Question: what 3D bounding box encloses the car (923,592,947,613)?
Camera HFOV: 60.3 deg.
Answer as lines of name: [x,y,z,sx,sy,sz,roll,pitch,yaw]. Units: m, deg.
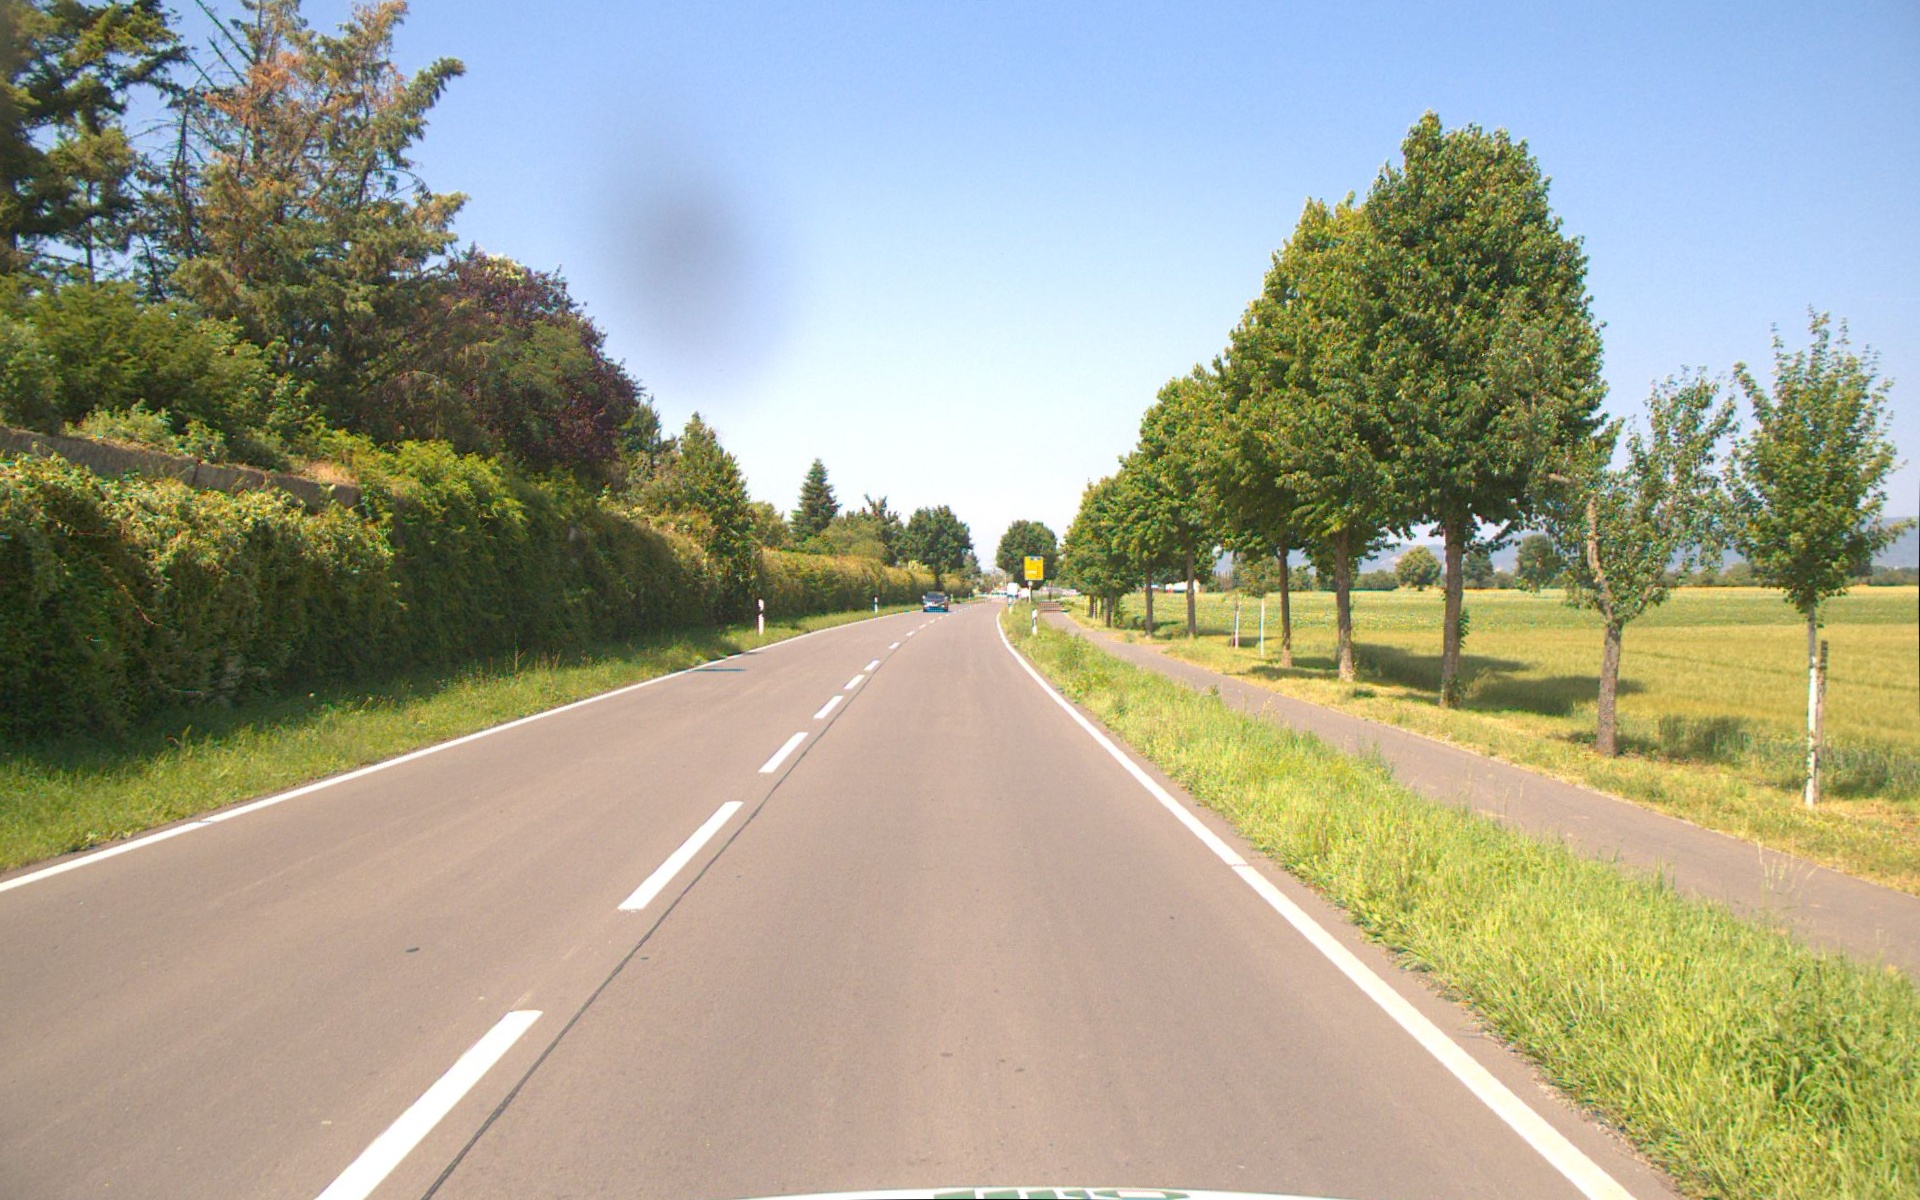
car: [-1.857,0.182,122.956,1.802,1.493,3.932,0,0,-1]
